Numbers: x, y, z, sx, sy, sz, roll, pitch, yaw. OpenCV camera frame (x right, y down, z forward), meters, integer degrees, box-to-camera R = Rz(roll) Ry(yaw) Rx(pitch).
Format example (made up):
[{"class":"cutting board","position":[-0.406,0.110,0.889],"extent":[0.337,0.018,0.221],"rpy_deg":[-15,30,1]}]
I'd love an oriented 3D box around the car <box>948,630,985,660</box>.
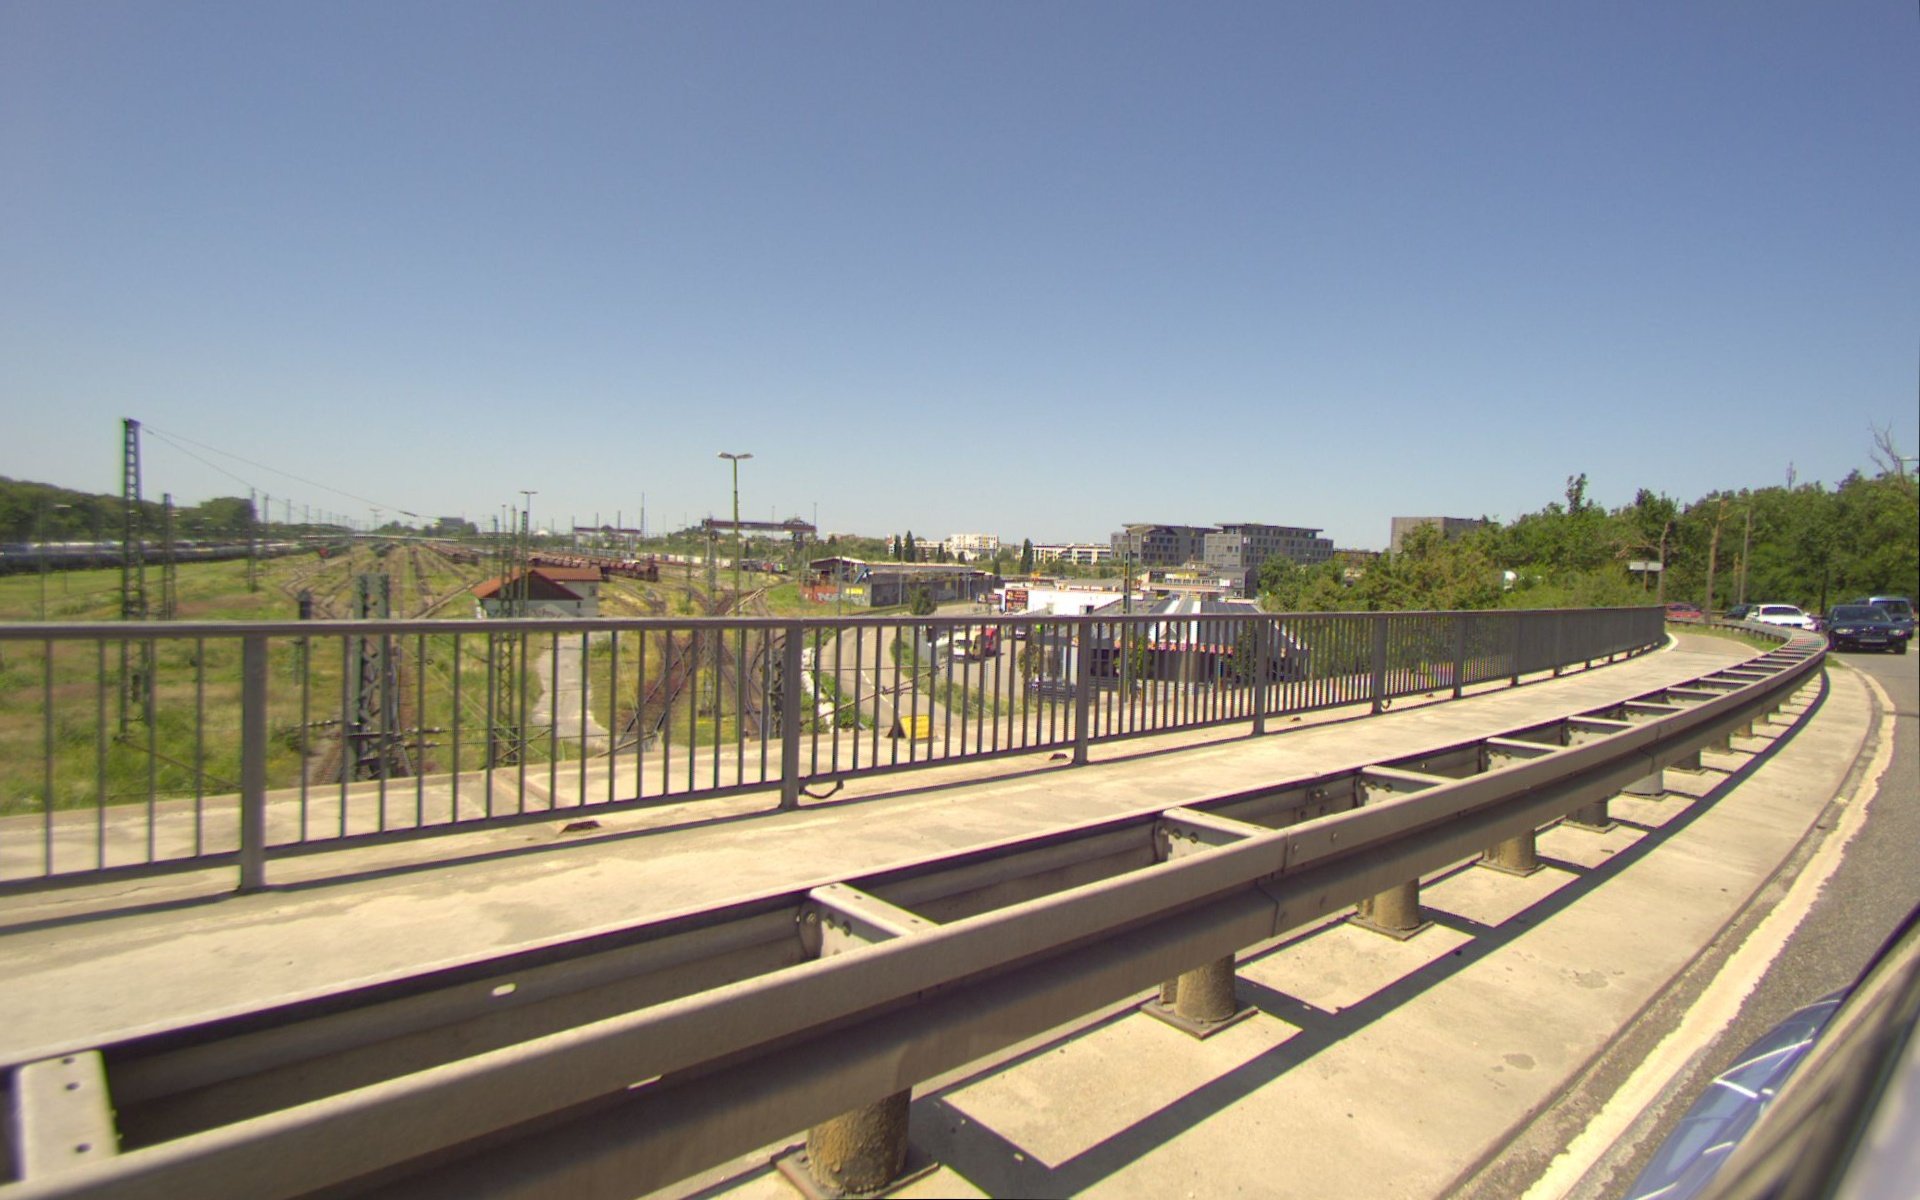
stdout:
[{"class":"car","position":[0.621,4.034,90.891],"extent":[2.121,2.382,4.906],"rpy_deg":[-4,-2,14]}]

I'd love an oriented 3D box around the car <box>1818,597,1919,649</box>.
[{"class":"car","position":[27.375,0.645,30.526],"extent":[1.557,1.434,4.078],"rpy_deg":[0,0,30]}]

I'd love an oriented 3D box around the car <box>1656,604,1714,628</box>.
[{"class":"car","position":[49.697,1.139,69.452],"extent":[1.697,1.446,4.087],"rpy_deg":[-4,-3,14]}]

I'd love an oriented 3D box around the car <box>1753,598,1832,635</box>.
[{"class":"car","position":[34.050,0.630,41.481],"extent":[1.801,1.446,3.678],"rpy_deg":[0,0,28]}]

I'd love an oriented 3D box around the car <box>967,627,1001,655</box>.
[{"class":"car","position":[2.356,3.909,97.604],"extent":[2.121,2.382,4.907],"rpy_deg":[-4,-1,14]}]

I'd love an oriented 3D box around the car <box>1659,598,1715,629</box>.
[{"class":"car","position":[43.175,0.767,60.174],"extent":[1.882,1.675,4.222],"rpy_deg":[1,2,25]}]

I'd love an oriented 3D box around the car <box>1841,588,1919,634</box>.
[{"class":"car","position":[40.178,0.427,43.957],"extent":[1.744,1.878,4.238],"rpy_deg":[0,0,25]}]
